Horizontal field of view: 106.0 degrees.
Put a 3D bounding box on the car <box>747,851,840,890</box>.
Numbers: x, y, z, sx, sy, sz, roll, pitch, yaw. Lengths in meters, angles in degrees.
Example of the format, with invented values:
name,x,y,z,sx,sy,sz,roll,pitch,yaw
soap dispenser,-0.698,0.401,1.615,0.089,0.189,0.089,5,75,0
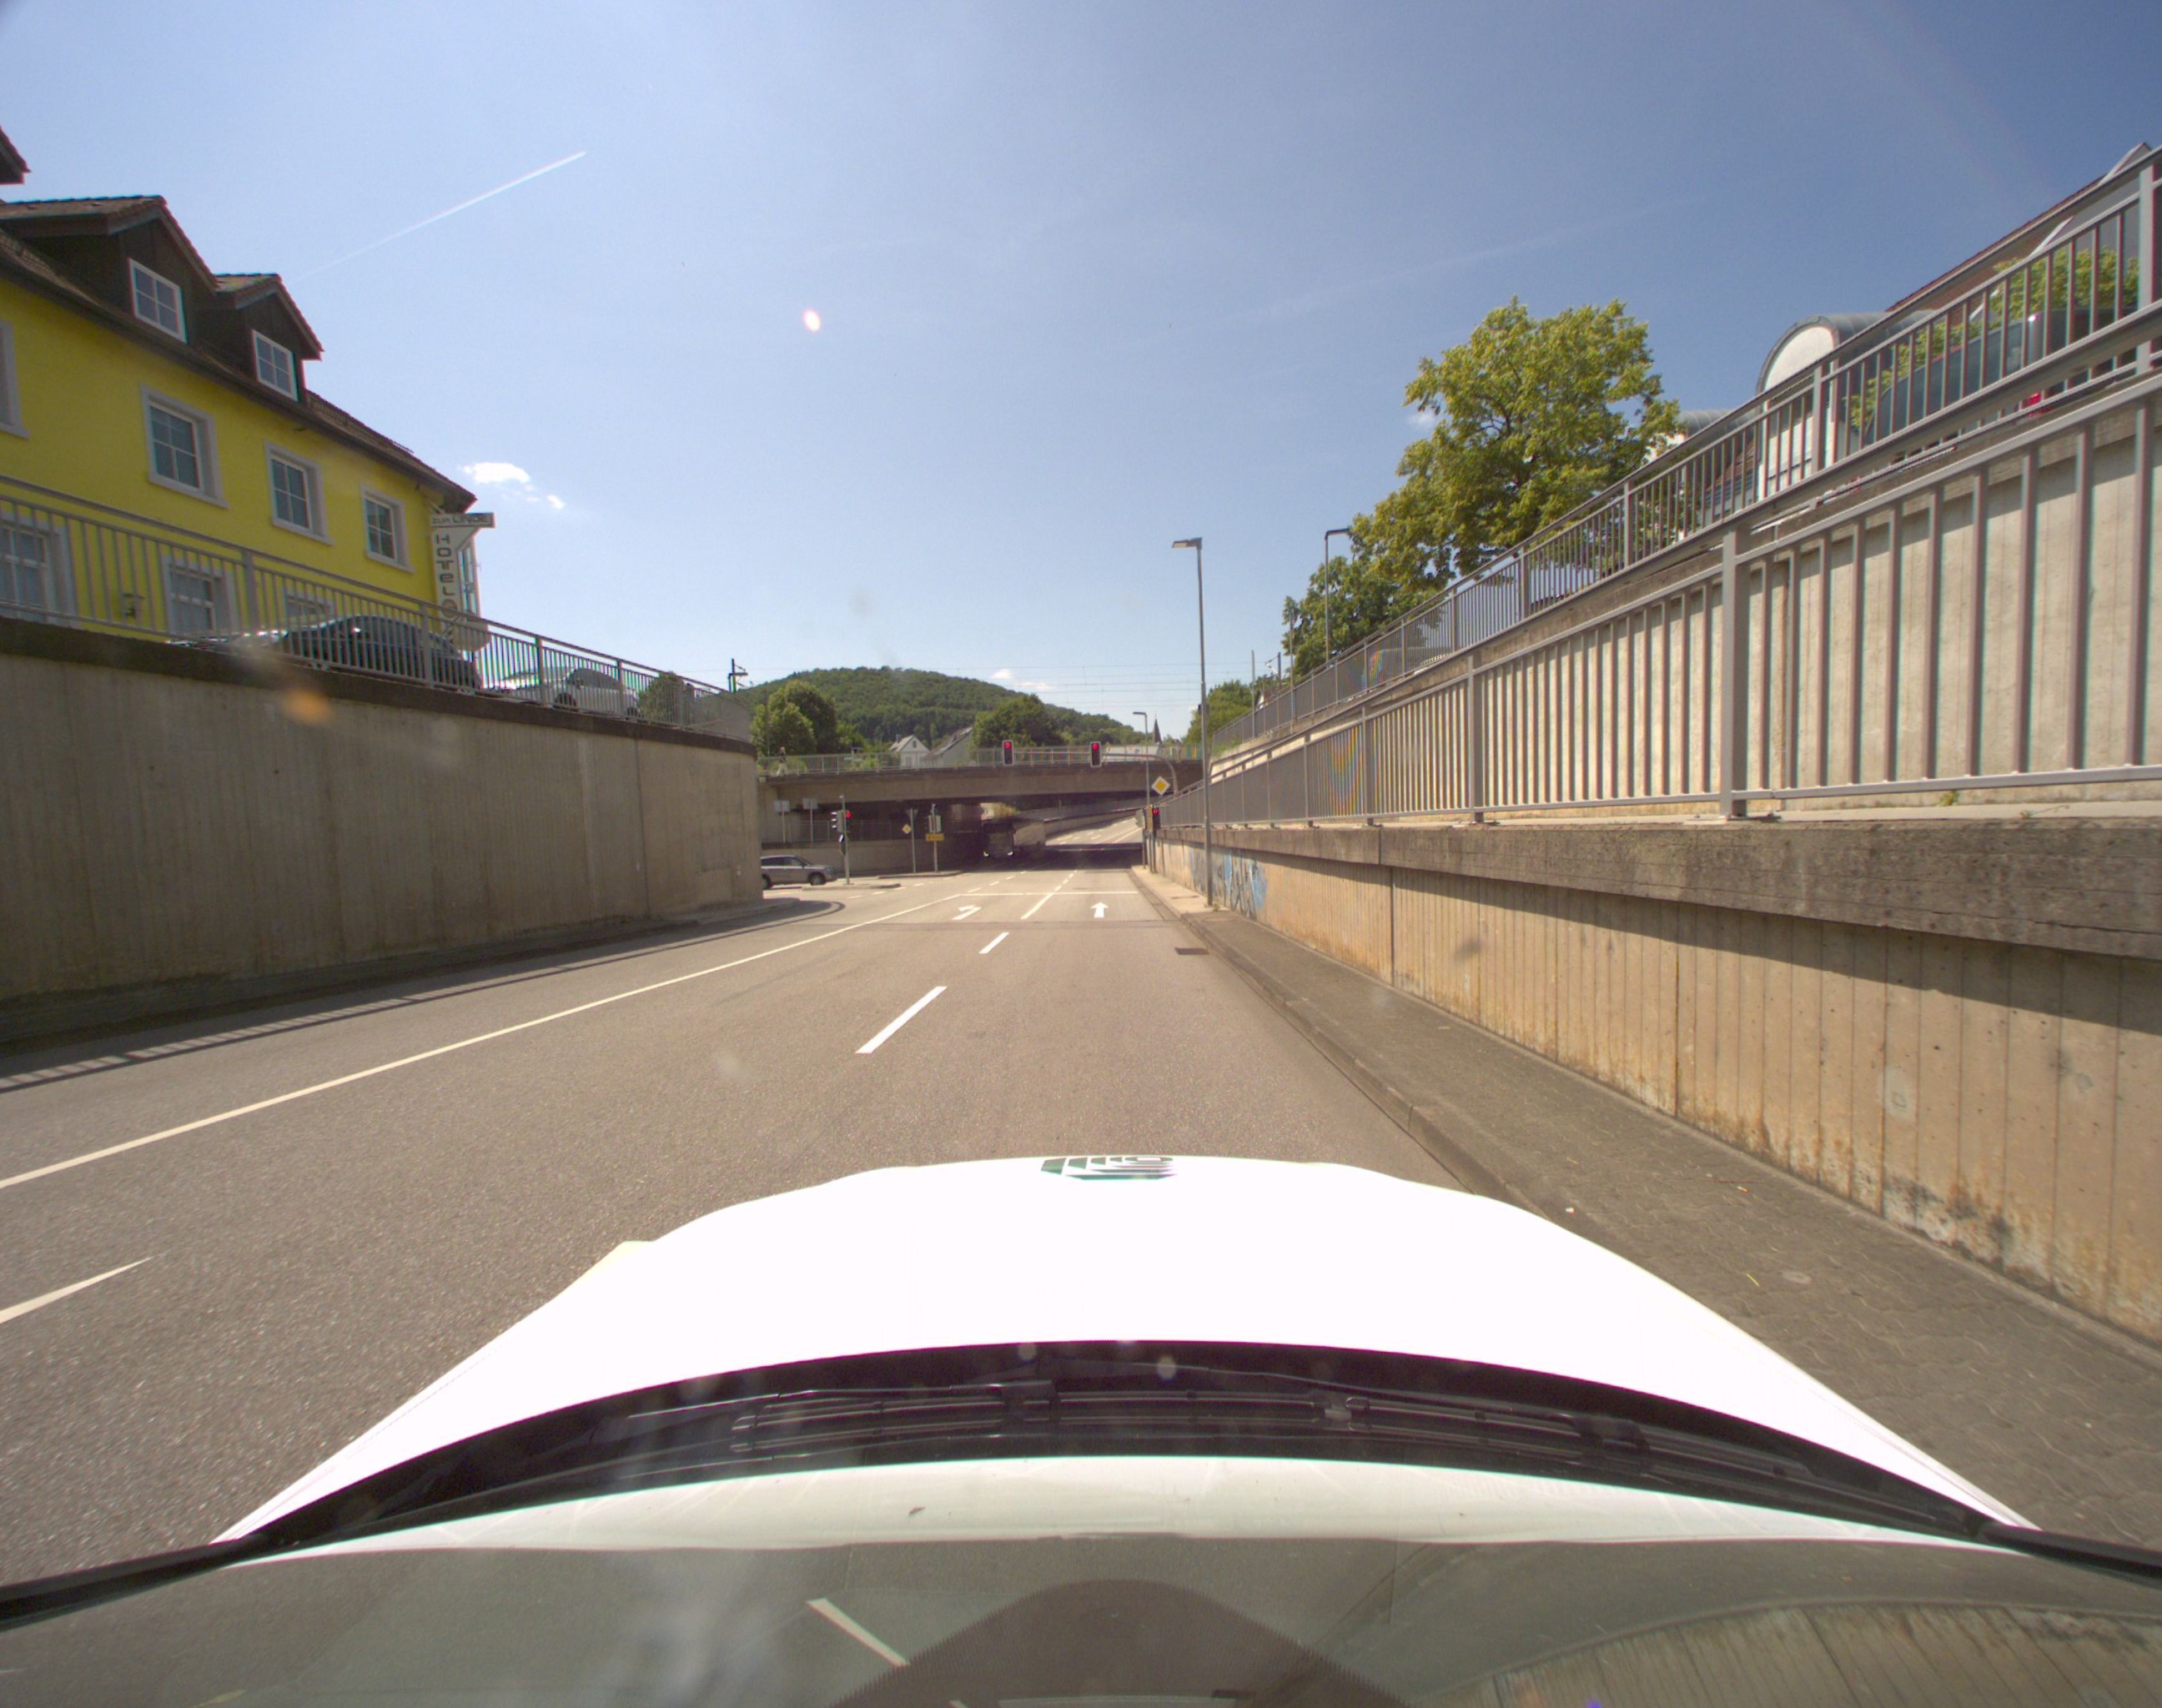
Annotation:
name,x,y,z,sx,sy,sz,roll,pitch,yaw
car,-13.933,0.778,39.677,3.989,1.617,1.803,-2,2,-12

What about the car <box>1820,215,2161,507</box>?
name,x,y,z,sx,sy,sz,roll,pitch,yaw
car,10.128,-4.772,8.033,3.969,1.770,1.772,-1,0,4

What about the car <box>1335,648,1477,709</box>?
name,x,y,z,sx,sy,sz,roll,pitch,yaw
car,10.589,-5.727,26.761,3.969,1.486,1.772,-1,0,4

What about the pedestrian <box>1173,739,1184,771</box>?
name,x,y,z,sx,sy,sz,roll,pitch,yaw
pedestrian,6.584,-6.693,55.047,0.538,2.081,0.534,-3,0,-5

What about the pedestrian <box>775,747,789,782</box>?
name,x,y,z,sx,sy,sz,roll,pitch,yaw
pedestrian,-18.217,-5.451,49.599,0.576,2.081,0.533,-3,0,-9

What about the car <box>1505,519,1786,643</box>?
name,x,y,z,sx,sy,sz,roll,pitch,yaw
car,10.377,-5.020,15.213,3.969,1.567,1.772,-1,0,4

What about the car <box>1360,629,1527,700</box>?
name,x,y,z,sx,sy,sz,roll,pitch,yaw
car,10.214,-5.335,23.170,3.969,1.486,1.772,-1,0,4

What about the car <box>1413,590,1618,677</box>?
name,x,y,z,sx,sy,sz,roll,pitch,yaw
car,10.295,-5.242,19.550,3.969,1.486,1.772,-1,0,4

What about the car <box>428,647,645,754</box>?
name,x,y,z,sx,sy,sz,roll,pitch,yaw
car,-11.477,-3.185,17.576,1.896,1.667,4.000,-2,3,0

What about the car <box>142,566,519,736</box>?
name,x,y,z,sx,sy,sz,roll,pitch,yaw
car,-11.104,-2.918,12.589,1.817,1.705,4.222,-2,3,0

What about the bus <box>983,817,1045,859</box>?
name,x,y,z,sx,sy,sz,roll,pitch,yaw
bus,-5.518,-1.534,69.718,2.566,3.172,12.407,-1,3,8
